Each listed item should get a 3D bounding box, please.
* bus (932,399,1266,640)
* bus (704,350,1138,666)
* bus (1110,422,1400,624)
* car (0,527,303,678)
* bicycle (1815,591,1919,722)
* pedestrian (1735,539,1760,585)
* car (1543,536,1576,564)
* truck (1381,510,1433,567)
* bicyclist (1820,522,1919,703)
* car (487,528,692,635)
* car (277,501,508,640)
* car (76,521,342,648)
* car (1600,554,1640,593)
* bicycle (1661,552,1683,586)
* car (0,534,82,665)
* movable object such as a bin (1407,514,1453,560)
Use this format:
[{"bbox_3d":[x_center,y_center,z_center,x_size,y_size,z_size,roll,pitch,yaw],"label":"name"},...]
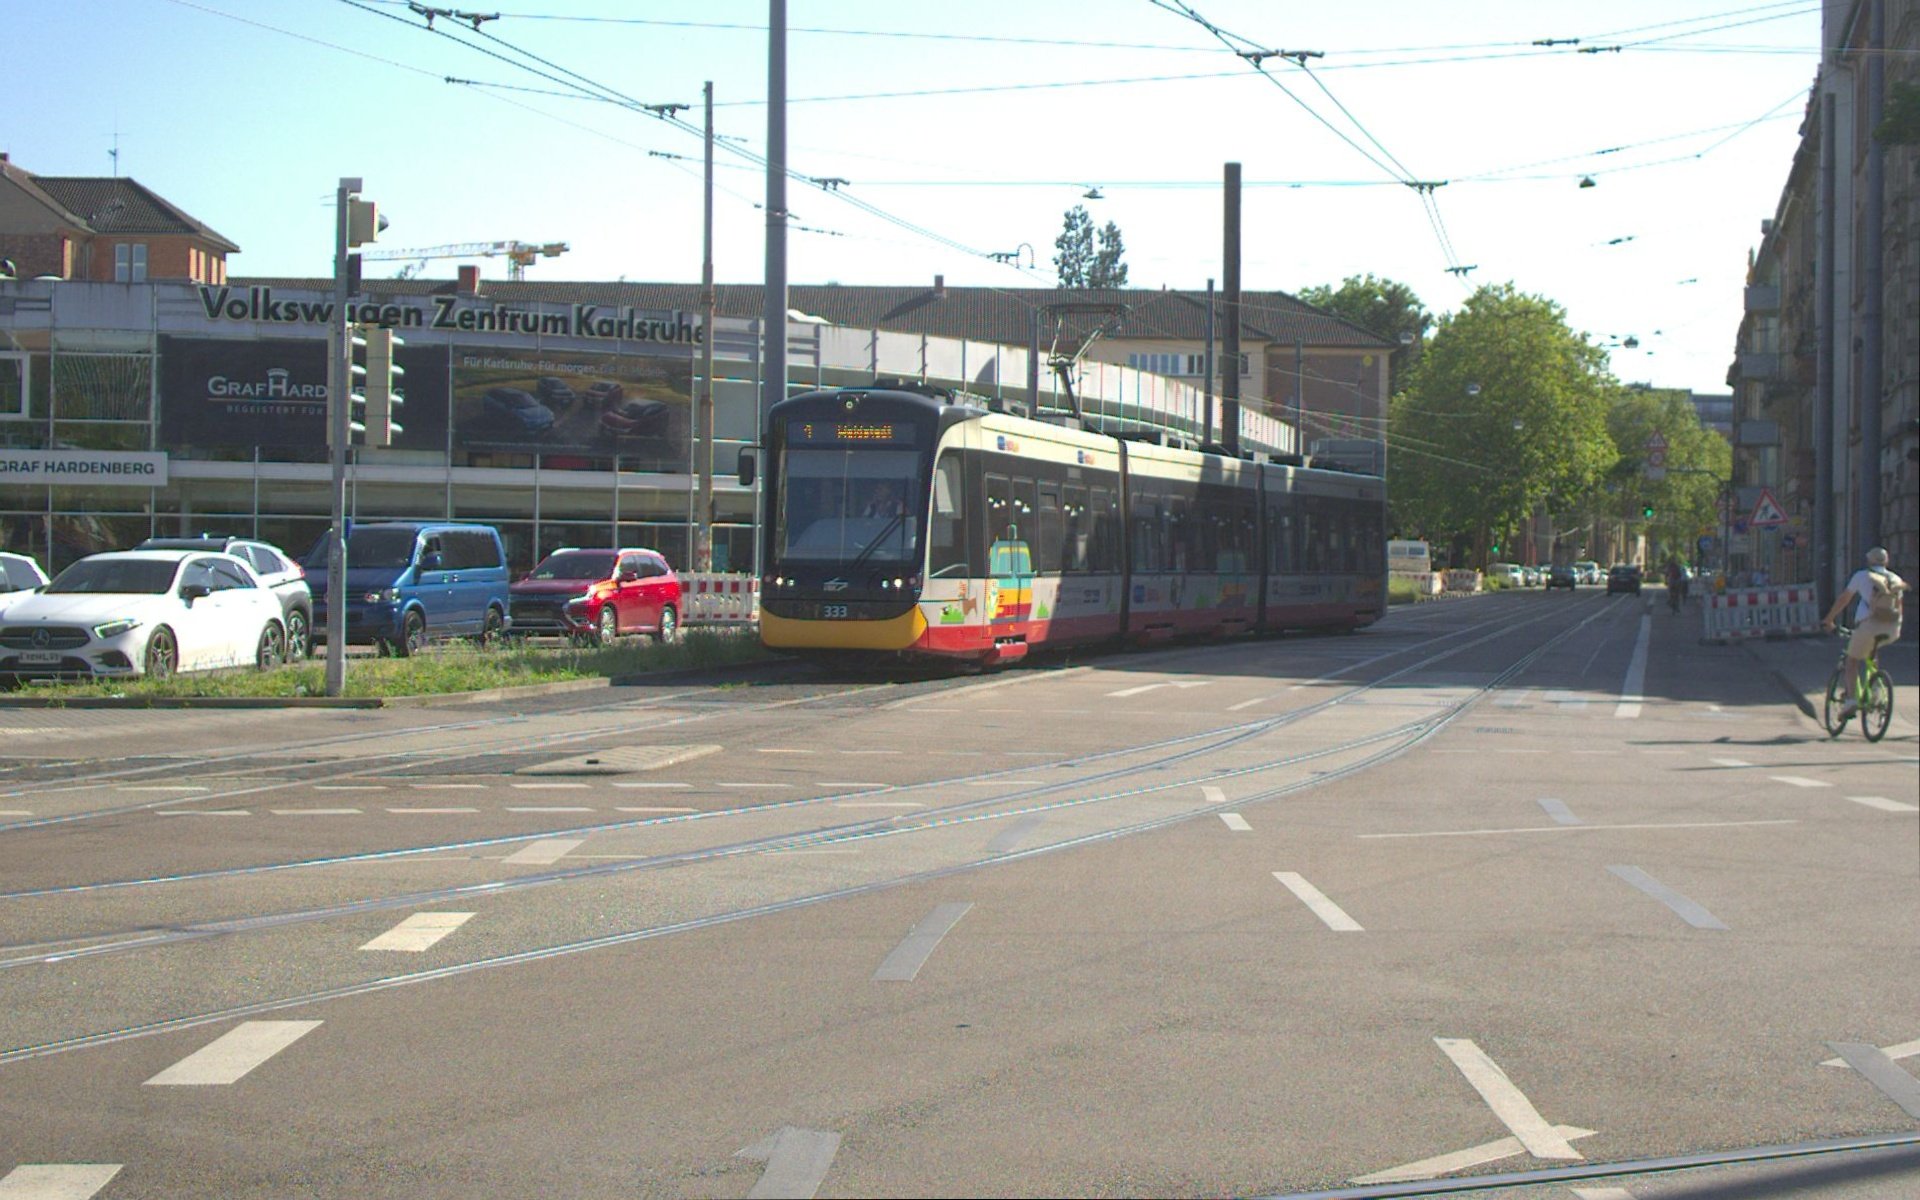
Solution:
[{"bbox_3d":[2.523,-1.303,56.916,2.843,3.577,10.717,2,1,17],"label":"bus"},{"bbox_3d":[-0.130,-1.176,46.107,2.842,3.577,13.489,1,1,12],"label":"bus"},{"bbox_3d":[5.990,-1.477,67.413,2.844,3.577,11.260,2,1,20],"label":"bus"},{"bbox_3d":[-8.701,-0.001,36.218,1.804,1.427,4.538,3,1,12],"label":"car"},{"bbox_3d":[8.716,0.525,33.006,0.531,1.113,1.934,2,3,1],"label":"bicycle"},{"bbox_3d":[27.473,-1.322,119.949,0.798,1.599,0.652,1,0,14],"label":"pedestrian"},{"bbox_3d":[38.033,-3.164,218.102,1.760,1.691,4.141,3,1,13],"label":"car"},{"bbox_3d":[23.274,-3.166,178.823,2.539,2.820,6.374,3,1,8],"label":"truck"},{"bbox_3d":[8.737,0.108,32.923,0.681,1.678,1.120,2,1,2],"label":"bicyclist"},{"bbox_3d":[-6.139,-0.319,57.456,1.800,1.713,4.413,0,0,17],"label":"car"},{"bbox_3d":[-8.200,-0.427,50.055,1.804,1.927,4.162,0,0,14],"label":"car"},{"bbox_3d":[-9.691,-0.210,44.698,1.804,1.573,4.163,0,0,12],"label":"car"},{"bbox_3d":[36.009,-1.450,187.561,1.995,2.007,3.998,3,1,12],"label":"car"},{"bbox_3d":[24.167,-1.060,116.723,0.681,1.110,2.706,3,1,11],"label":"bicycle"},{"bbox_3d":[-11.433,-0.034,37.777,1.804,1.427,3.998,3,1,12],"label":"car"},{"bbox_3d":[28.637,-3.838,209.350,2.496,2.636,5.987,3,1,9],"label":"movable object such as a bin"}]
